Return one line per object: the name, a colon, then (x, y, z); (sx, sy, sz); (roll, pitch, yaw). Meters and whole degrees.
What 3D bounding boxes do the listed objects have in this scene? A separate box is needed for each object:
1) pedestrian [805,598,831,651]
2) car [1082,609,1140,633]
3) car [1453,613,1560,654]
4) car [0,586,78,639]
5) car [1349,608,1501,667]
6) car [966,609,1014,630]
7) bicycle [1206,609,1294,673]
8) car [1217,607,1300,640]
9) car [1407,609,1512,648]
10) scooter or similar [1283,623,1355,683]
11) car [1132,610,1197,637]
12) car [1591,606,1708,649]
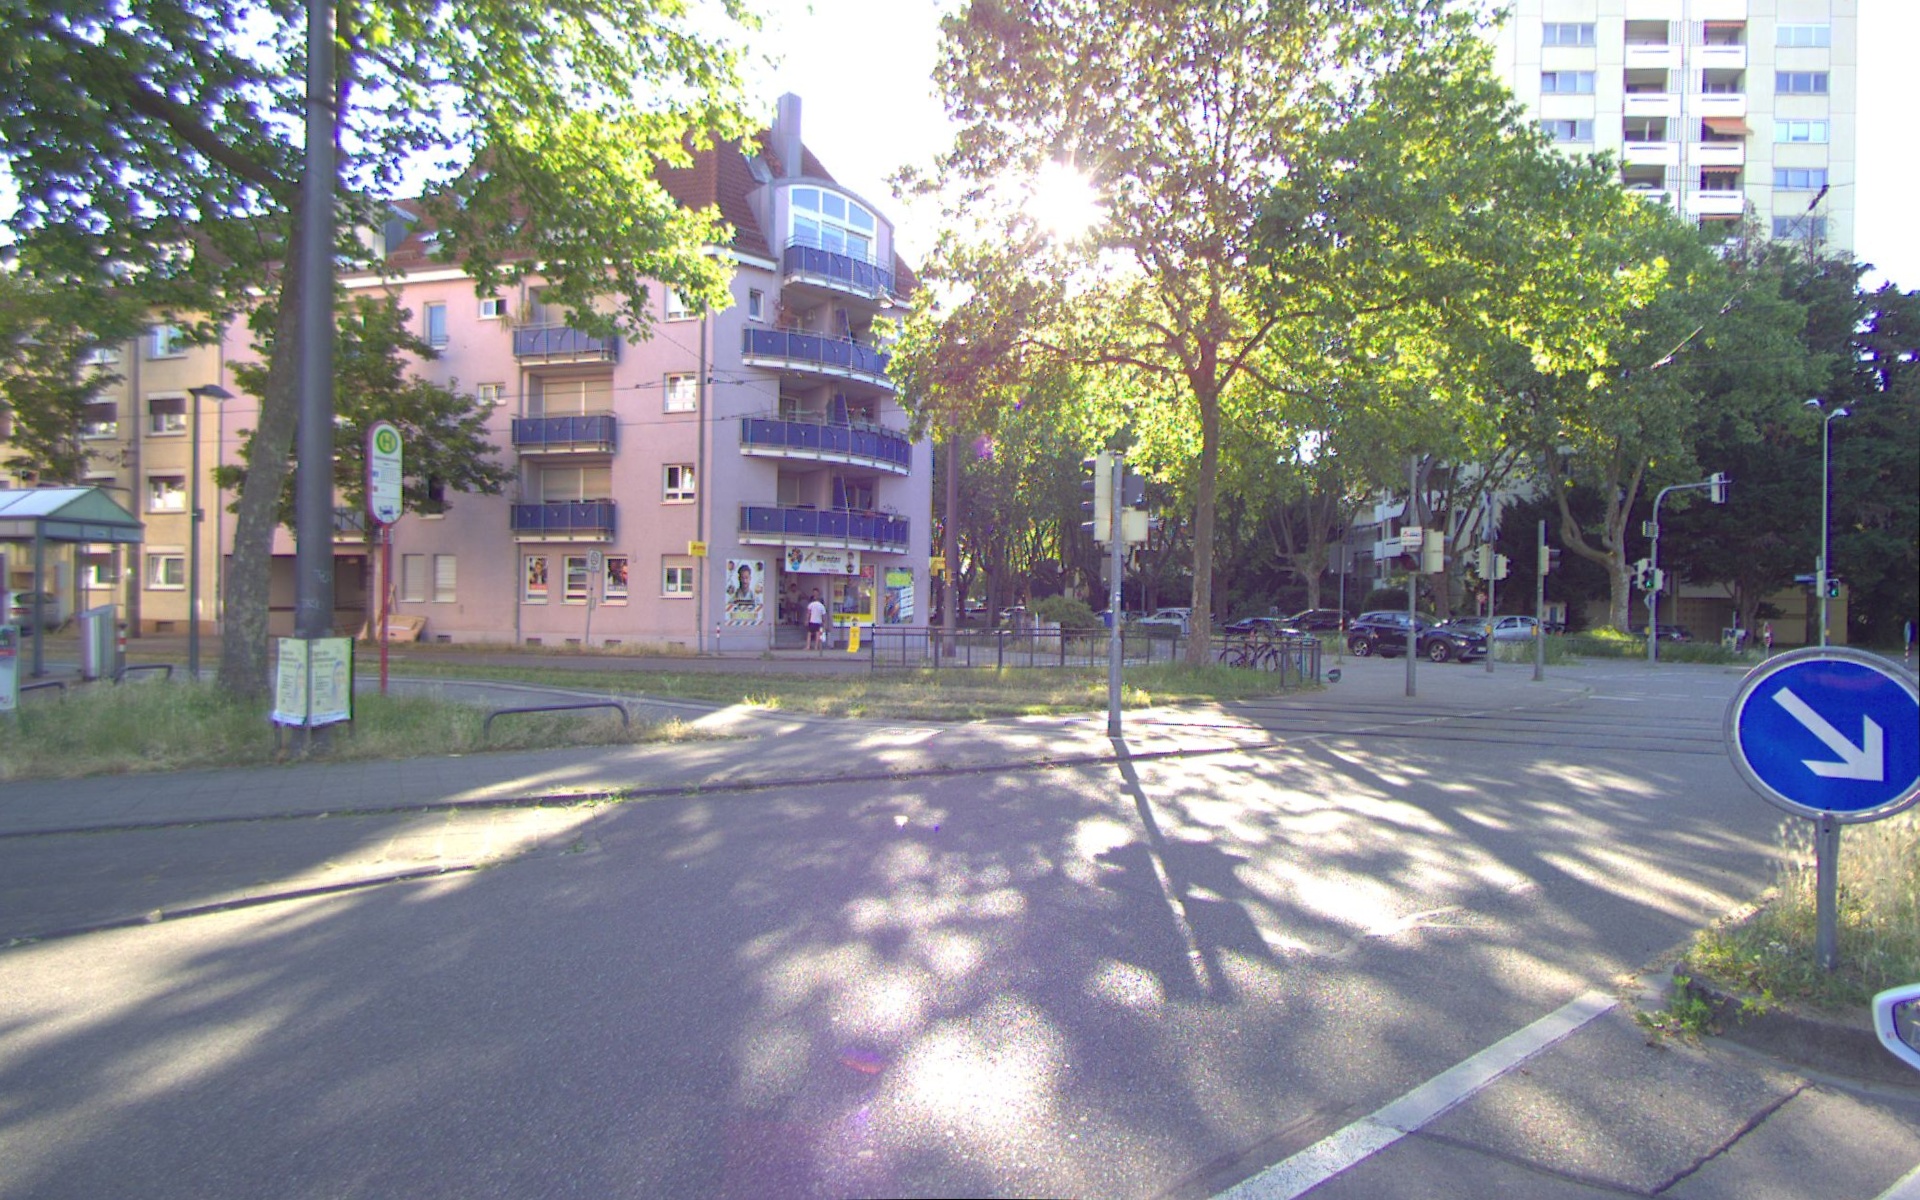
pedestrian: (-4.613, 0.779, 32.622); (0.610, 1.689, 0.549); (2, 0, 38)
car: (11.088, 1.523, 73.898); (3.921, 1.617, 1.738); (2, 0, 0)
car: (23.883, 1.454, 43.982); (3.732, 1.617, 1.738); (2, 0, 0)
car: (-33.475, 0.398, 35.219); (4.029, 1.728, 1.940); (2, 0, 16)
car: (14.445, 1.131, 31.400); (1.722, 1.617, 3.959); (2, 0, -36)
car: (2.613, 1.669, 86.366); (3.919, 1.617, 1.739); (2, 0, 9)
bicycle: (6.403, 0.890, 22.245); (1.811, 1.324, 0.382); (2, 0, 34)
car: (15.917, 1.240, 53.681); (3.921, 1.617, 1.738); (2, 0, 0)
car: (22.845, 1.297, 46.033); (3.921, 1.617, 1.738); (2, 0, 0)
scooter or similar: (7.926, 1.162, 22.204); (1.412, 1.255, 0.414); (2, 0, 9)
car: (13.406, 1.551, 65.983); (3.921, 1.617, 1.738); (2, 0, 0)
car: (31.628, 1.248, 46.202); (1.971, 1.798, 3.979); (2, 0, -22)
